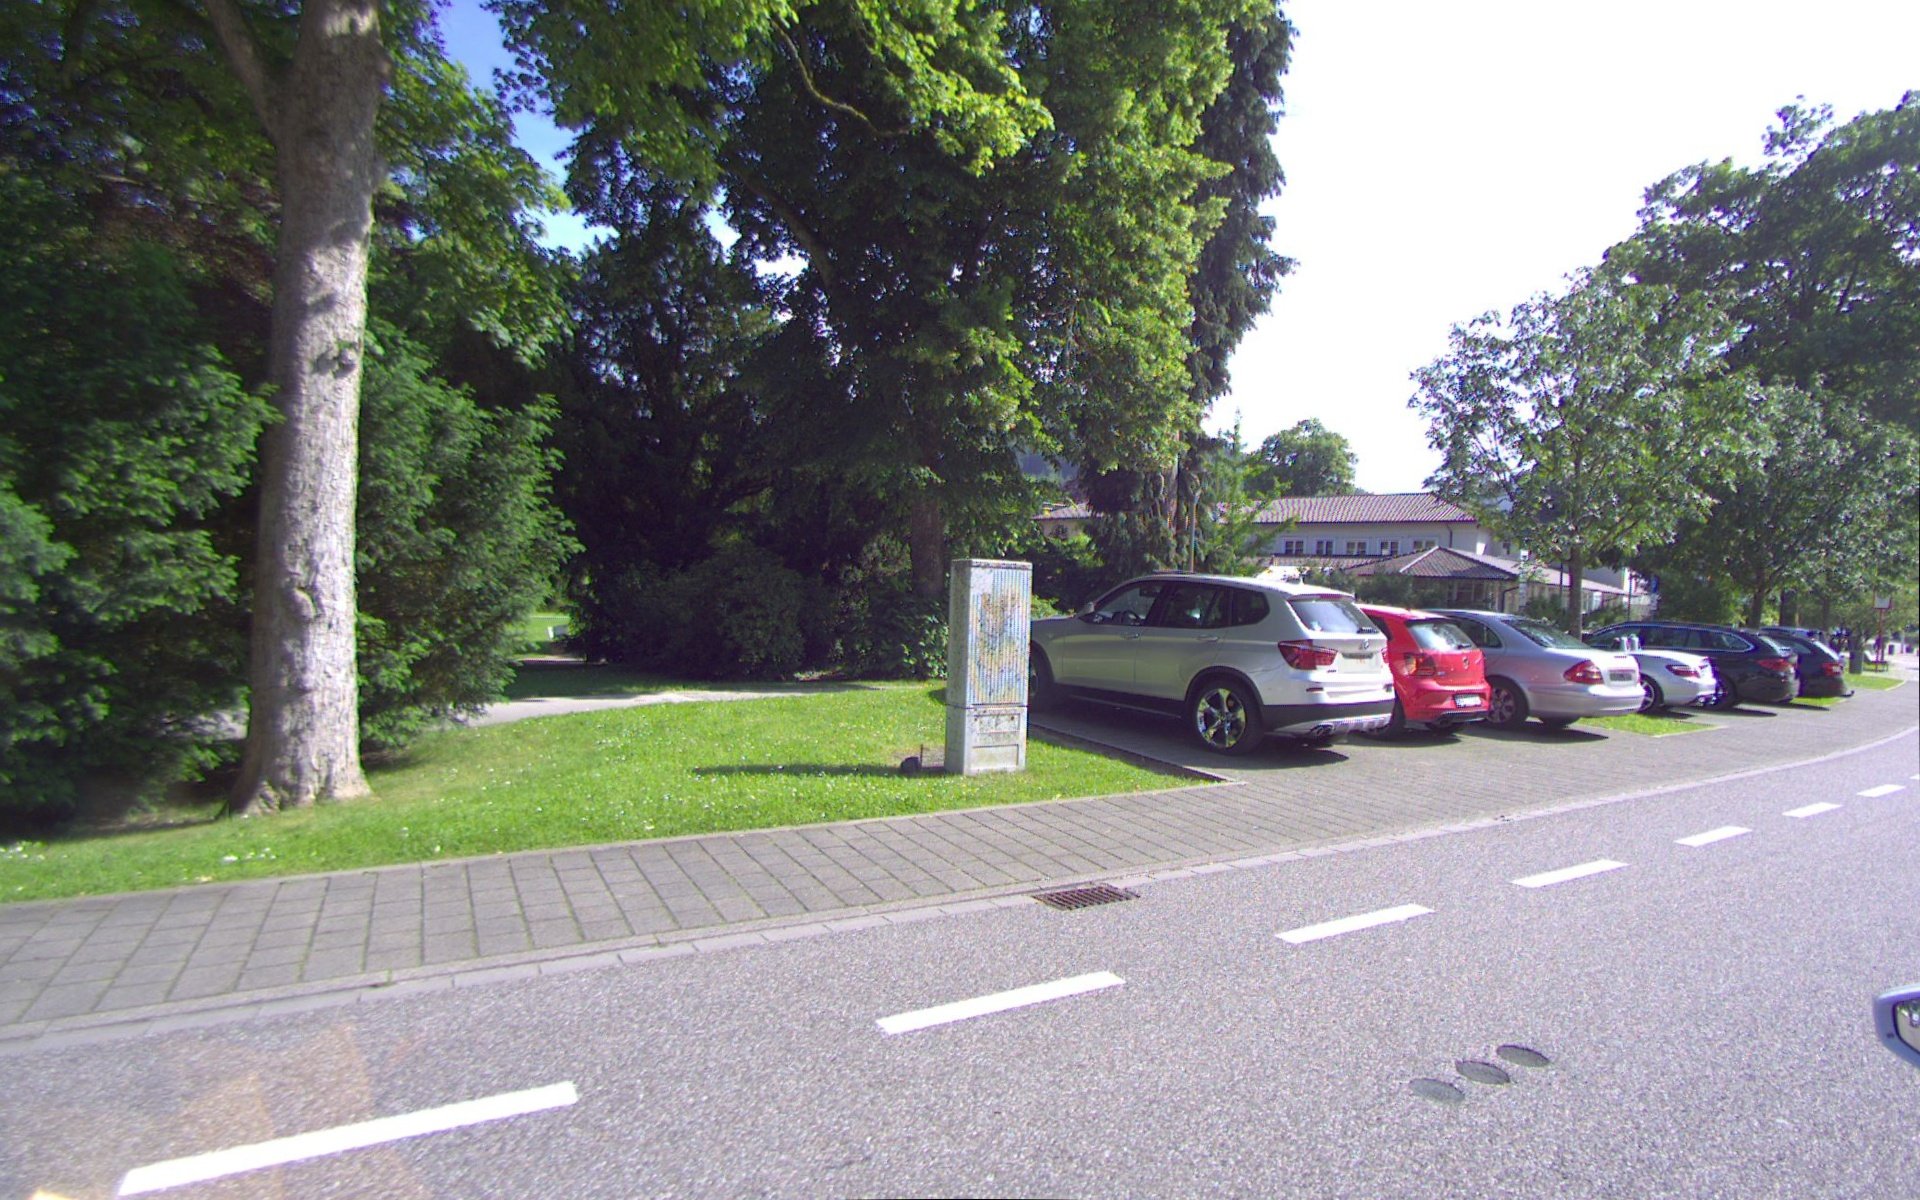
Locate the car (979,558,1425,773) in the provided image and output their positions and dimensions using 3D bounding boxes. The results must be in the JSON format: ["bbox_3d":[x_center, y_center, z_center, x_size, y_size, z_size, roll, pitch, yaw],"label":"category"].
[{"bbox_3d":[2.364,0.530,10.898,1.795,1.685,4.445,3,2,-39],"label":"car"}]

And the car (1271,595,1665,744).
[{"bbox_3d":[6.786,0.829,13.863,1.795,1.436,4.445,3,2,-39],"label":"car"}]

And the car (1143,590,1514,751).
[{"bbox_3d":[4.402,0.746,12.493,1.706,1.451,3.954,3,2,-39],"label":"car"}]

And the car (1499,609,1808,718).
[{"bbox_3d":[12.869,1.094,18.877,1.701,1.530,4.451,2,2,-42],"label":"car"}]

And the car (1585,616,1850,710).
[{"bbox_3d":[15.799,1.248,21.093,4.228,1.451,1.704,5,2,42],"label":"car"}]

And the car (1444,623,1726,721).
[{"bbox_3d":[10.660,1.155,17.309,1.750,1.259,3.758,3,1,-42],"label":"car"}]

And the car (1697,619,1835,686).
[{"bbox_3d":[22.672,1.449,28.307,1.666,1.567,2.632,3,2,-36],"label":"car"}]
